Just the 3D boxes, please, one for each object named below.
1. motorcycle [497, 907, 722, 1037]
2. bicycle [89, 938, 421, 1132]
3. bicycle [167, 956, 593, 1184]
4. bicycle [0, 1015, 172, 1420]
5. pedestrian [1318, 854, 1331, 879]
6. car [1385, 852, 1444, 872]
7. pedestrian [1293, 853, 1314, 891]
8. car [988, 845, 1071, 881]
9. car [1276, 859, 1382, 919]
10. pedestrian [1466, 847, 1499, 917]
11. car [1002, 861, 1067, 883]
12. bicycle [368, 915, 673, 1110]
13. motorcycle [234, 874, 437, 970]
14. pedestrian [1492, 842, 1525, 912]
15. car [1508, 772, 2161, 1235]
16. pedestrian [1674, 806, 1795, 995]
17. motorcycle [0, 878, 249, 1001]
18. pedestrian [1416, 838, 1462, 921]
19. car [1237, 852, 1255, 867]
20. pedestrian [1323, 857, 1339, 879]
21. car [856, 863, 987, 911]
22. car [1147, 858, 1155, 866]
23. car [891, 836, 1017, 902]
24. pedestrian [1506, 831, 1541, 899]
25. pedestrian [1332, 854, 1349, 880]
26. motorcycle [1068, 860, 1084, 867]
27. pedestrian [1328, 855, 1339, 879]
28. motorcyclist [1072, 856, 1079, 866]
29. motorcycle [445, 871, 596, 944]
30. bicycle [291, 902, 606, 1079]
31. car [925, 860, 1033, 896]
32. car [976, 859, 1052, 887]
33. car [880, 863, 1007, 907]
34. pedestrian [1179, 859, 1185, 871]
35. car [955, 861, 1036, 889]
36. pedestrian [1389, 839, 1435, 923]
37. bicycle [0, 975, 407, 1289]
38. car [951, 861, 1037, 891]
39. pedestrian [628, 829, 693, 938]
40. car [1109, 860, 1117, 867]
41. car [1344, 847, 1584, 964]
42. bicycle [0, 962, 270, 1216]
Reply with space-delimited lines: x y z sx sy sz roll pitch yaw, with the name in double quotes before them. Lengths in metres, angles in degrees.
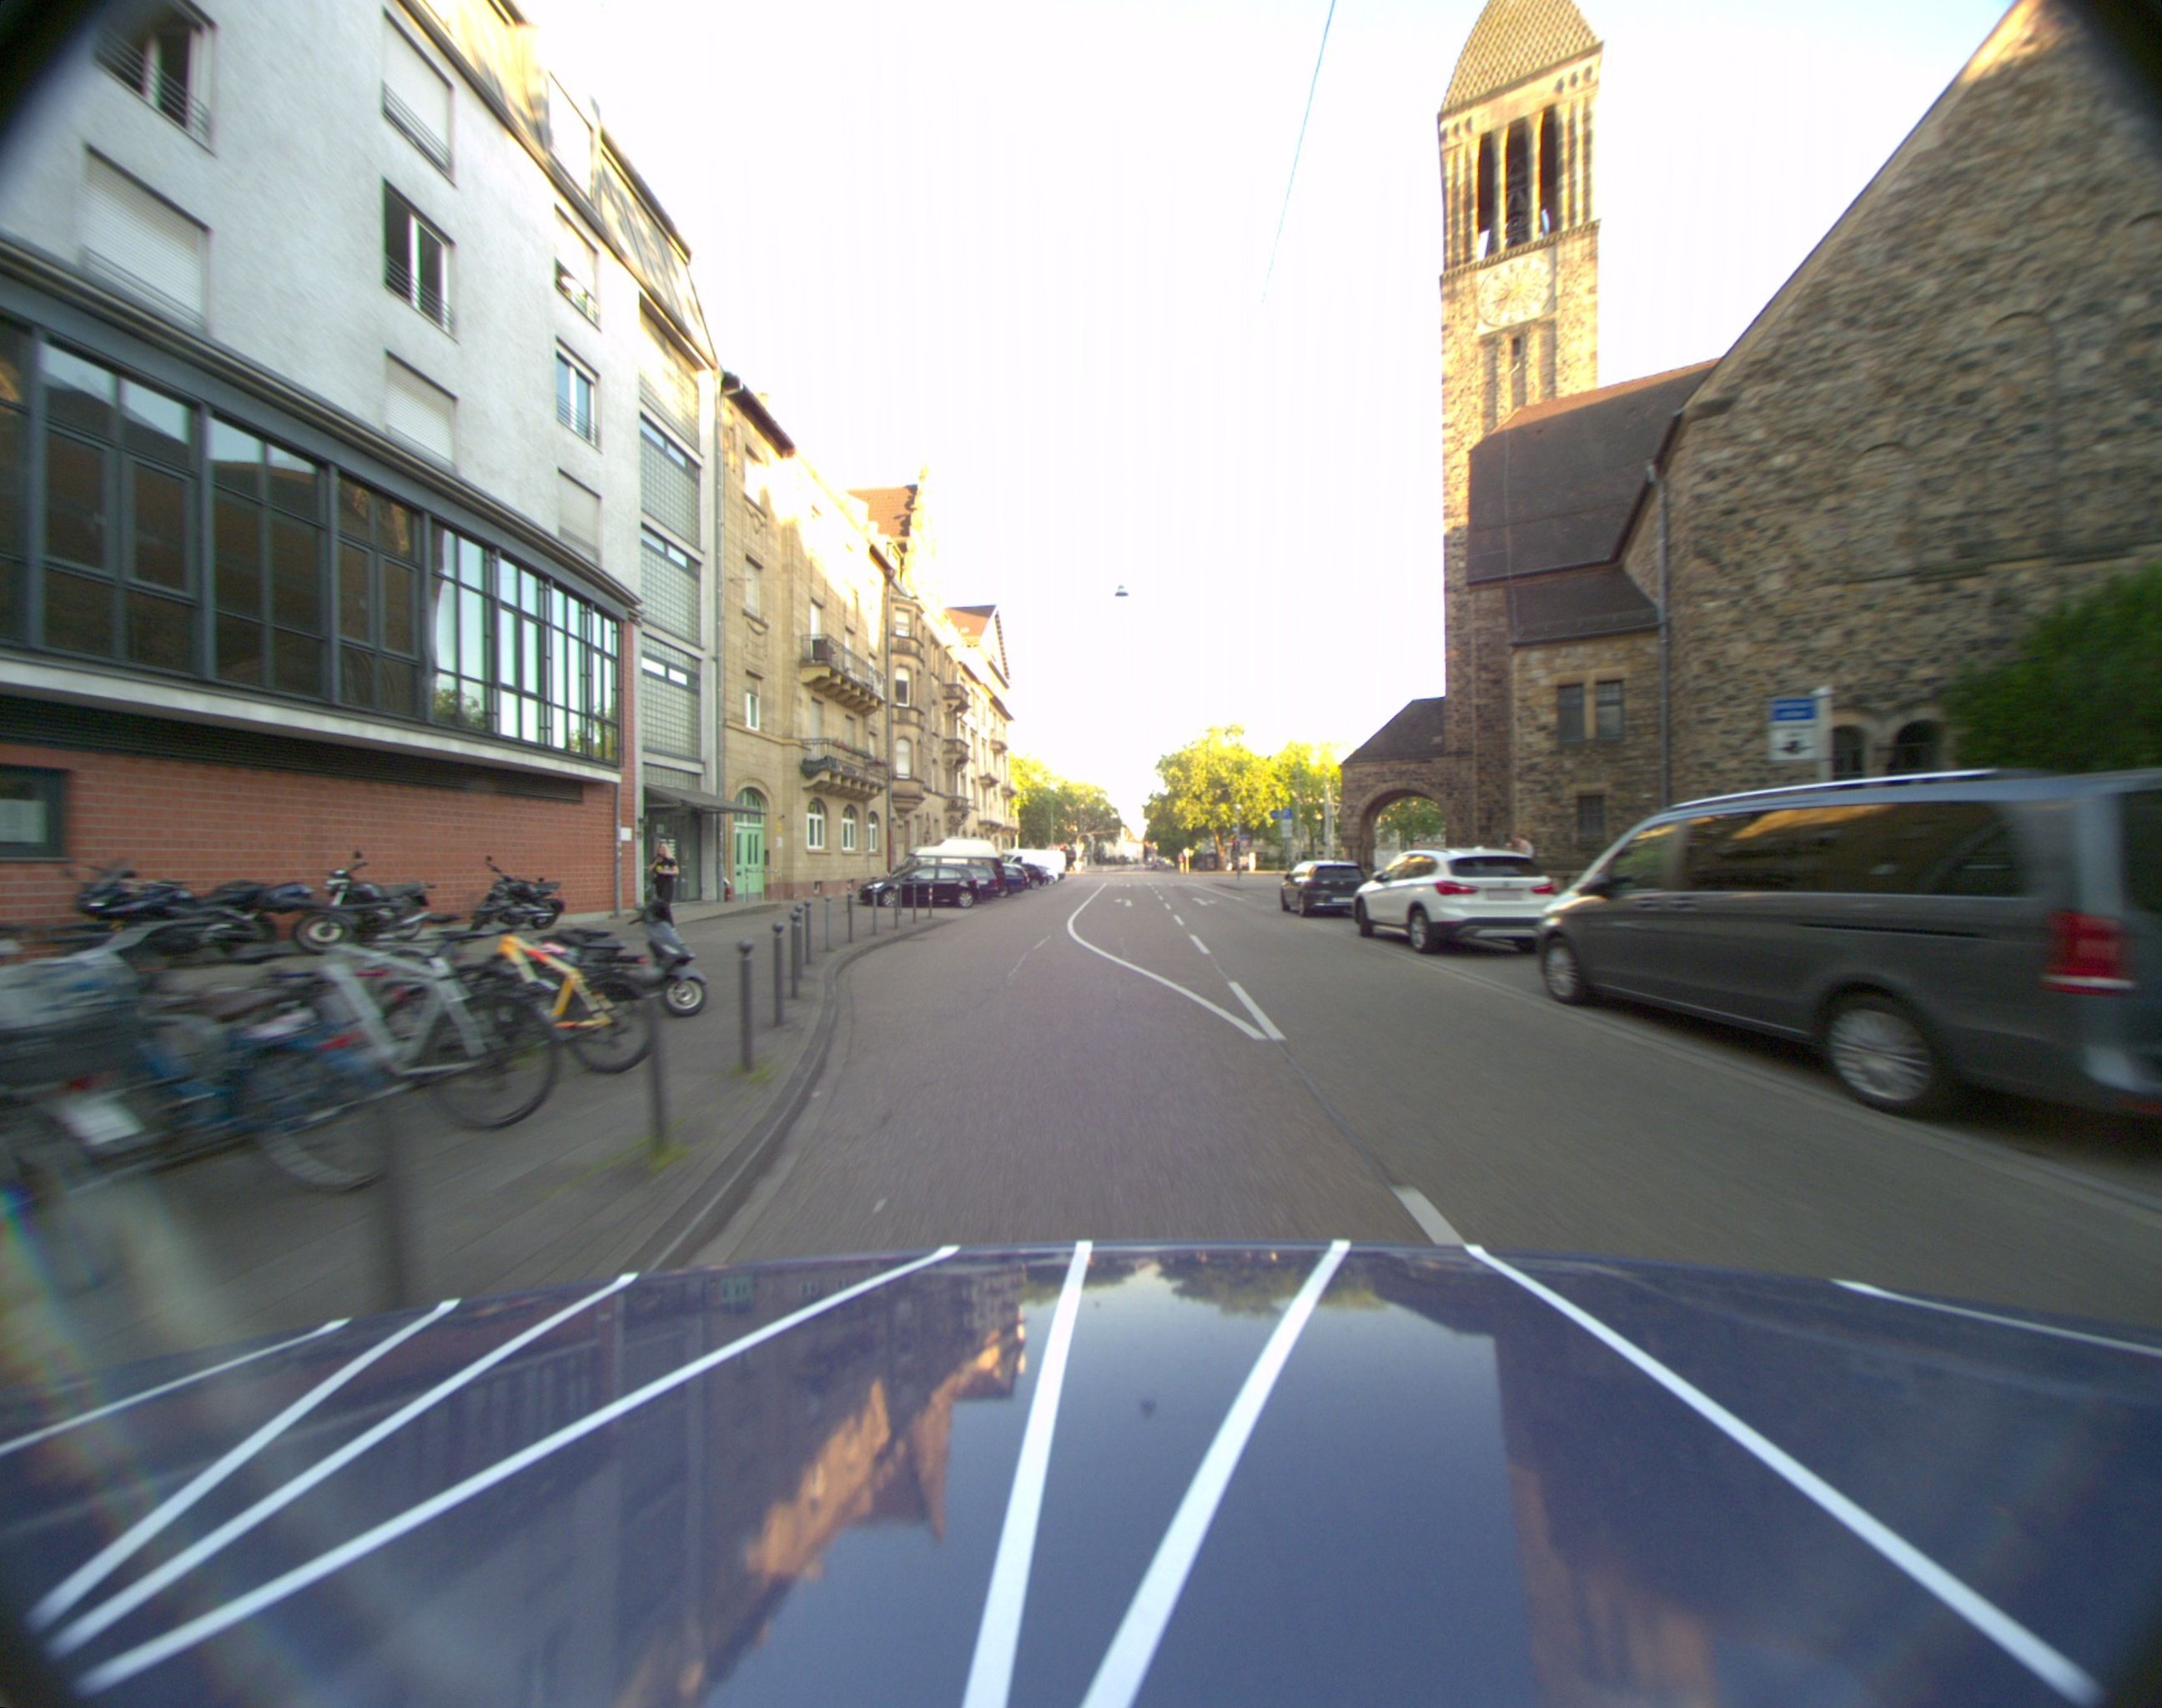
"motorcycle" -4.358 1.083 7.118 1.649 1.095 0.647 2 0 -5
"bicycle" -4.996 1.072 4.637 1.543 1.032 0.472 1 0 2
"bicycle" -3.674 1.109 4.042 1.862 1.032 0.472 1 0 2
"bicycle" -3.991 1.068 2.360 1.862 1.059 0.446 1 0 2
"pedestrian" 14.023 0.730 43.734 0.549 1.445 0.559 -1 0 39
"car" 26.751 0.660 60.925 3.989 1.549 1.846 -1 0 36
"pedestrian" 10.151 0.810 34.658 0.716 1.715 0.691 -1 0 -6
"car" -3.844 0.702 57.035 5.897 2.537 2.190 1 2 -37
"car" 6.554 0.857 20.560 1.787 1.426 4.317 -1 0 5
"pedestrian" 9.441 0.646 17.875 0.416 1.612 0.547 -1 0 -36
"car" -3.306 1.269 54.275 4.263 1.445 1.994 1 0 -35
"bicycle" -3.723 1.029 5.097 1.711 1.169 0.472 1 0 2
"motorcycle" -10.356 0.888 10.727 0.778 1.133 2.414 1 0 -9
"pedestrian" 10.354 0.550 18.405 0.416 1.664 0.547 -1 0 -36
"car" 5.450 0.597 5.599 1.998 1.855 5.292 -1 0 5
"pedestrian" 6.873 0.470 8.027 0.583 1.894 0.803 -1 0 1
"motorcycle" -10.573 0.854 8.323 0.589 1.097 2.084 2 0 1
"pedestrian" 8.224 0.580 17.508 0.574 1.845 0.989 -1 0 1
"car" 22.346 0.782 102.718 1.865 2.002 3.816 -1 0 19
"pedestrian" 16.212 0.904 49.245 0.801 1.366 0.701 -1 0 37
"car" -5.466 1.087 26.123 4.075 1.483 1.720 -1 0 -27
"car" 18.456 2.085 201.421 1.990 1.945 4.598 -1 0 7
"car" -5.181 0.558 31.136 4.732 2.532 1.914 -1 1 -25
"pedestrian" 10.191 0.245 17.517 0.651 1.536 0.586 -1 0 27
"pedestrian" 14.359 0.709 41.996 0.702 1.398 0.633 -1 0 39
"motorcycle" -0.741 1.393 110.107 2.287 0.917 0.622 -1 0 -22
"pedestrian" 14.453 0.741 43.451 0.401 1.398 0.549 -1 0 39
"motorcyclist" -0.768 1.040 110.095 0.830 1.510 0.622 -1 0 -22
"motorcycle" -10.045 0.912 13.773 0.801 1.132 2.441 1 0 3
"bicycle" -4.752 0.993 5.777 1.863 1.139 0.659 2 0 3
"car" -4.575 1.063 34.033 4.405 1.477 1.839 2 -1 -27
"car" -3.980 1.133 45.183 4.107 1.598 1.811 2 0 -34
"car" -5.173 1.101 28.609 4.362 1.493 1.909 -1 0 -24
"pedestrian" 13.889 1.505 104.327 0.745 1.619 0.661 -1 0 21
"car" -4.715 1.166 42.184 4.065 1.489 1.749 2 0 -31
"pedestrian" 7.591 0.606 17.474 0.648 1.868 0.891 -1 0 1
"bicycle" -3.861 1.082 3.099 1.862 1.059 0.446 1 0 2
"car" -4.521 1.136 39.703 4.042 1.423 1.863 2 0 -30
"pedestrian" -8.126 0.561 14.720 0.608 2.002 0.858 5 1 5
"car" 7.845 2.325 186.379 1.793 1.570 4.003 -1 0 7
"car" 6.008 0.723 12.630 1.875 1.582 4.469 -1 0 2
"bicycle" -4.946 1.065 3.582 1.862 1.032 0.402 1 0 2
